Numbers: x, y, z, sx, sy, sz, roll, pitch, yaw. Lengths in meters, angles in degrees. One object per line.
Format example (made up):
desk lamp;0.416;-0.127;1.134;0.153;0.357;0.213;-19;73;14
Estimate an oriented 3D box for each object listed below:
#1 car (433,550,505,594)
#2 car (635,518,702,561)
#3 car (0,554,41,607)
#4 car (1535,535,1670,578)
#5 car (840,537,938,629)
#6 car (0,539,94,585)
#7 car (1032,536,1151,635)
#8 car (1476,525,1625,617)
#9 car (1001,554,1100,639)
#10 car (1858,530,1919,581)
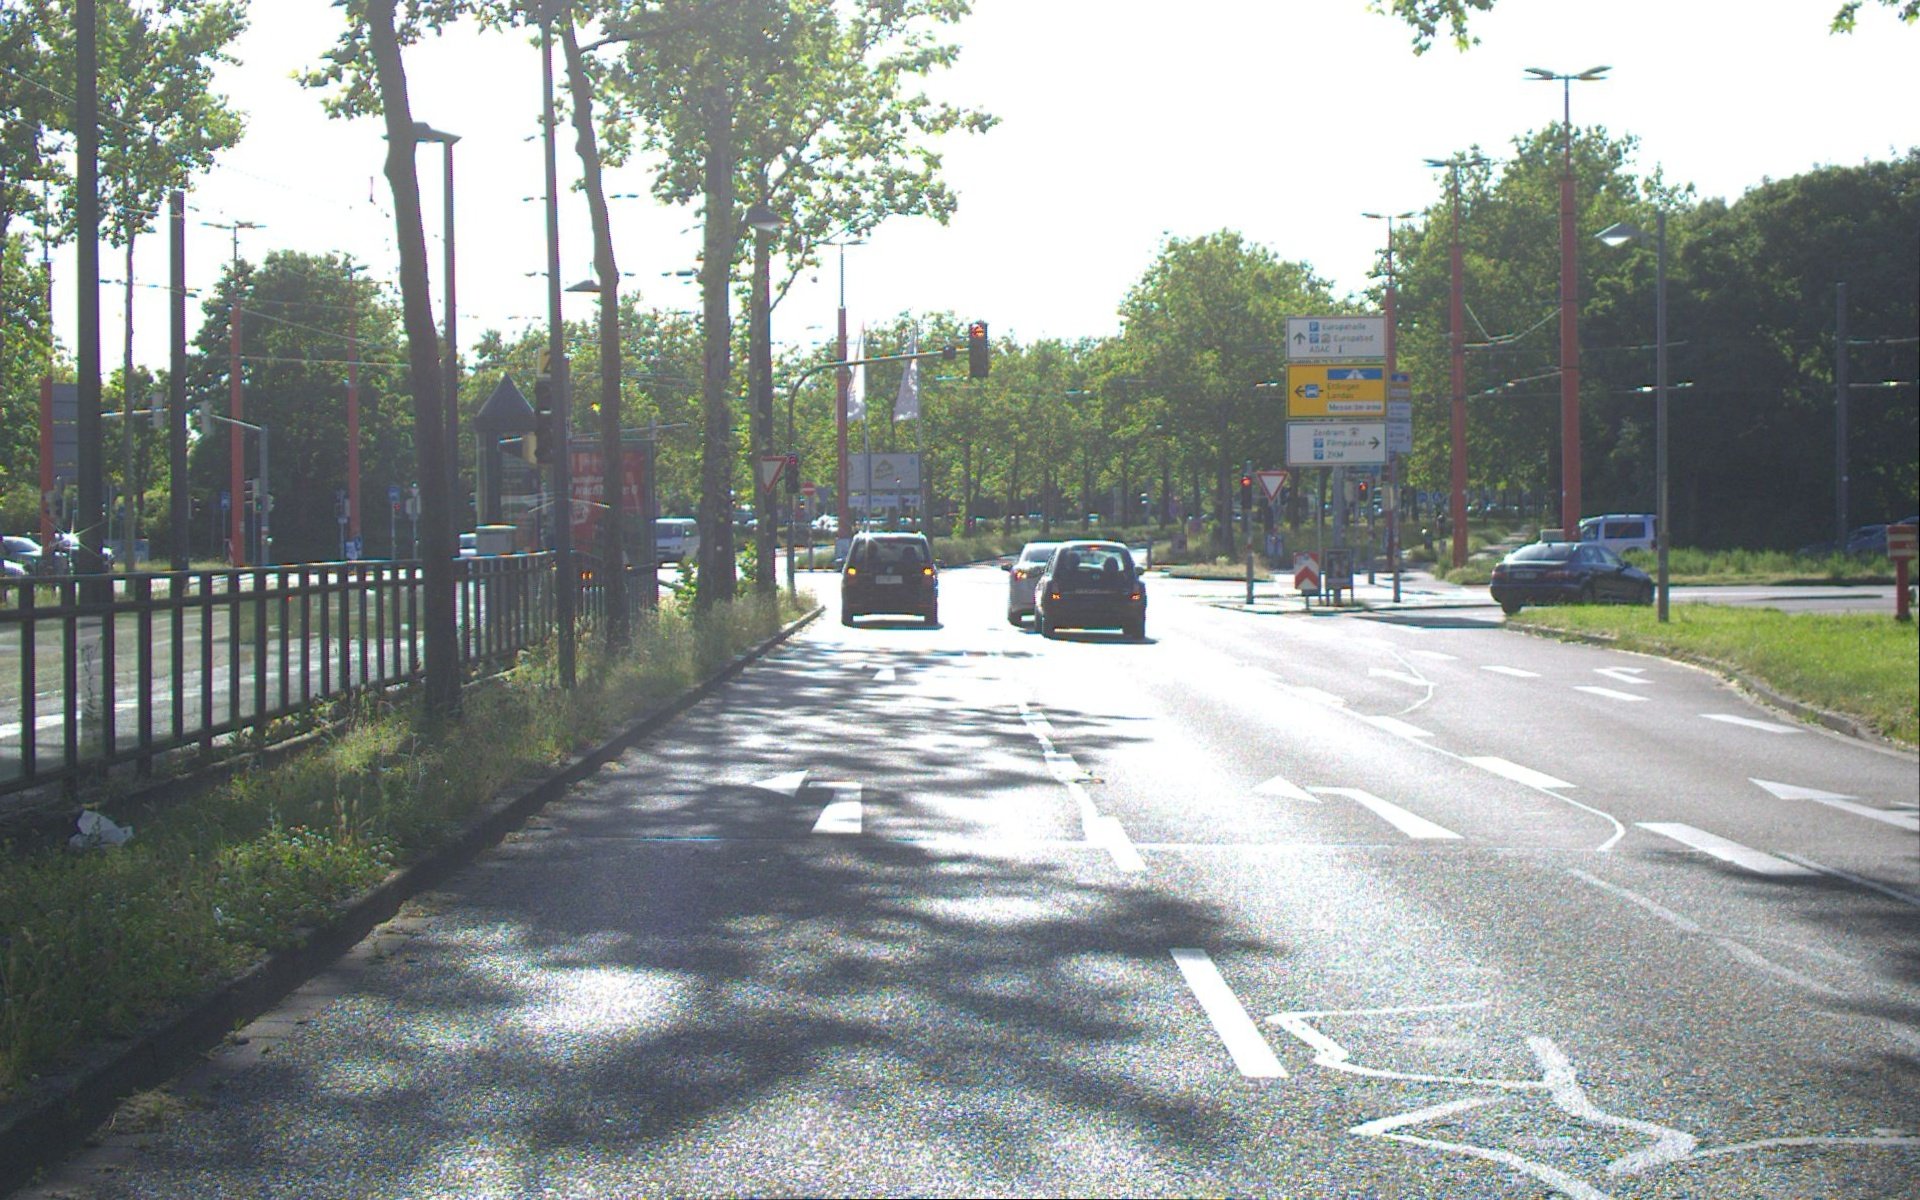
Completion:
car;-16.695;-0.962;116.972;1.632;1.444;3.718;1;1;5
car;-12.287;-2.545;145.033;1.823;1.774;4.566;1;1;8
car;-32.729;-0.628;113.017;4.489;1.605;1.899;0;3;18
car;20.865;-1.408;111.711;3.992;1.333;1.727;1;1;25
car;-1.293;-0.323;61.980;1.710;1.598;3.350;0;1;-2
car;-33.109;-1.352;122.493;3.990;1.615;1.898;0;1;18
car;2.091;-0.256;55.420;1.638;1.489;3.504;1;2;-2
car;12.172;-0.596;70.656;1.984;1.786;4.608;1;1;23
car;1.612;-0.088;62.526;1.678;1.470;4.131;1;1;0
car;30.346;-1.367;107.026;4.357;1.553;1.870;1;1;24
